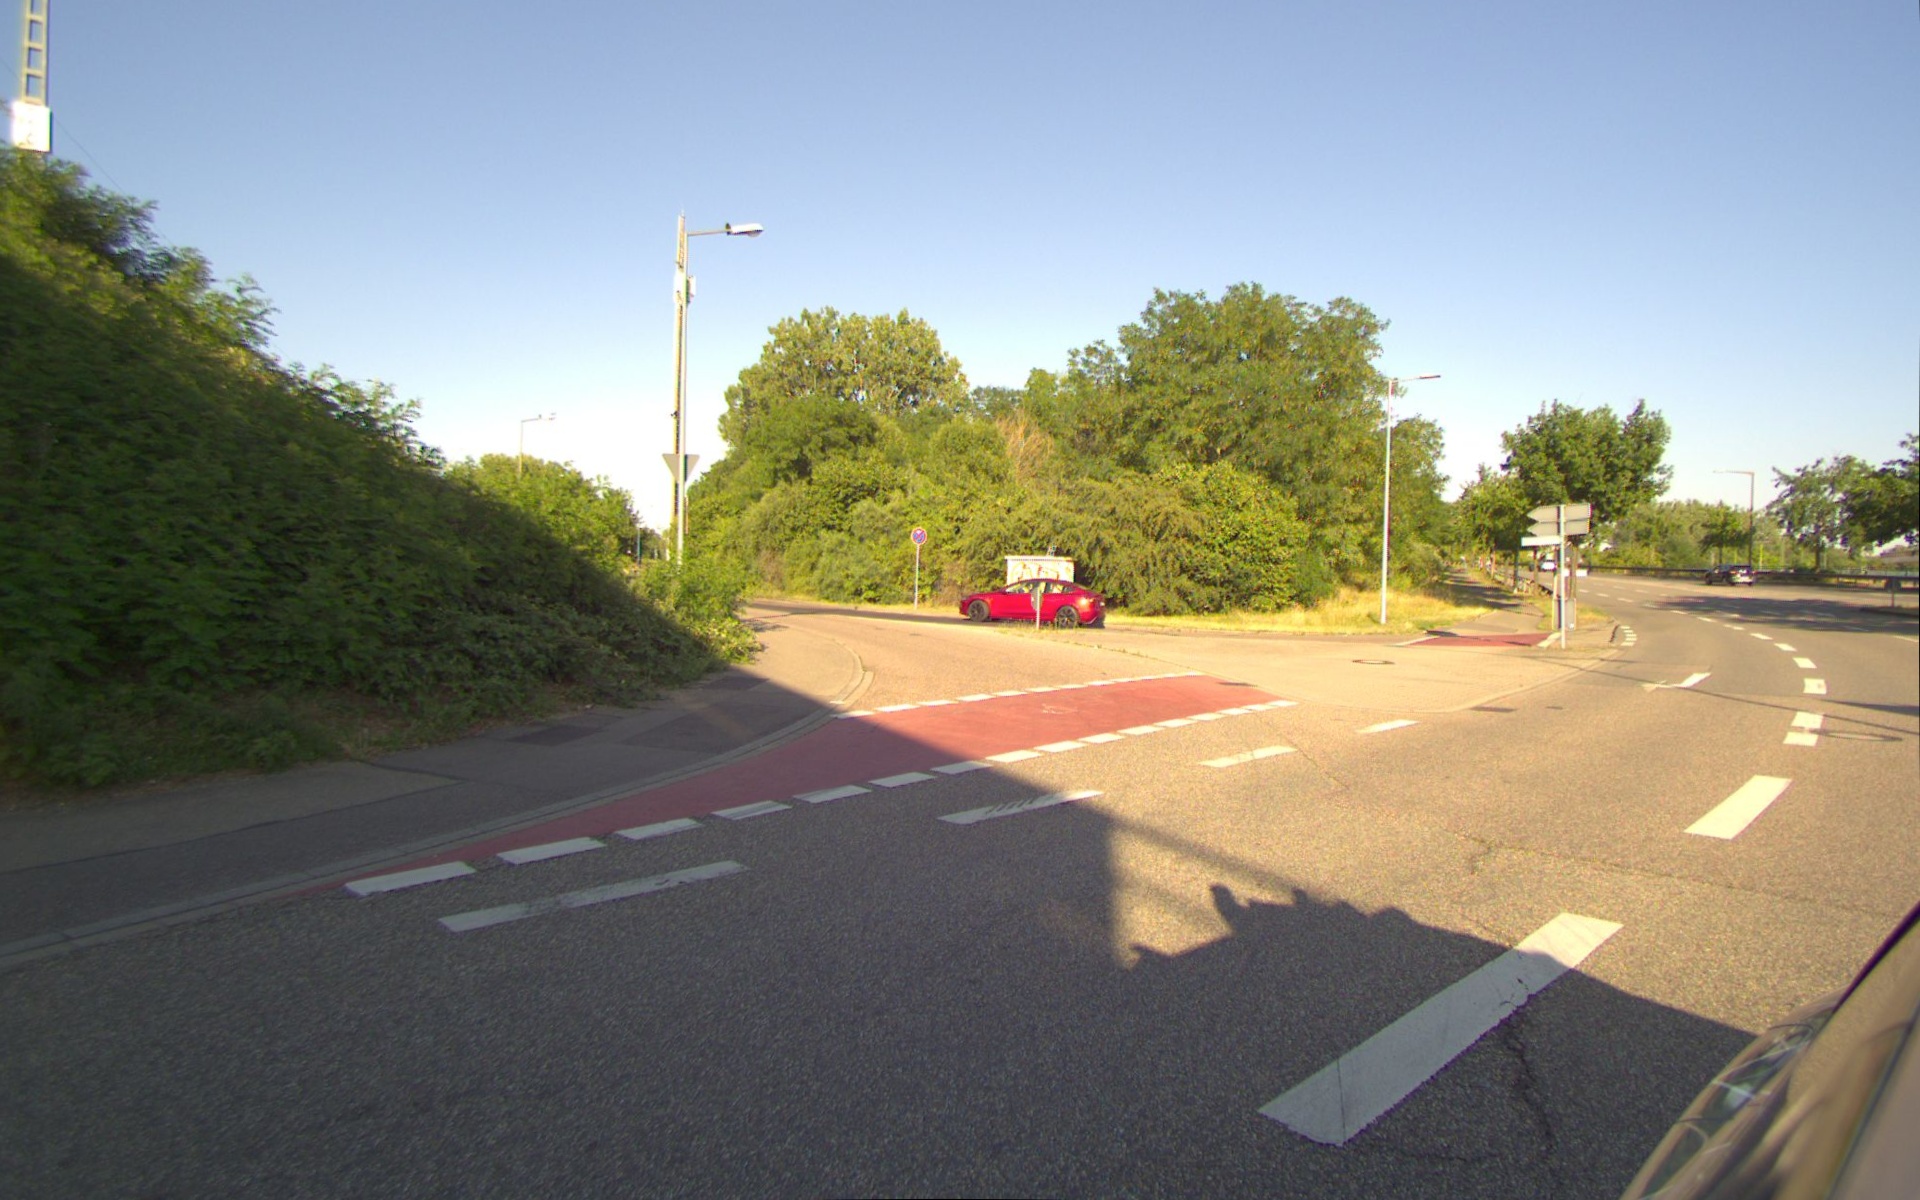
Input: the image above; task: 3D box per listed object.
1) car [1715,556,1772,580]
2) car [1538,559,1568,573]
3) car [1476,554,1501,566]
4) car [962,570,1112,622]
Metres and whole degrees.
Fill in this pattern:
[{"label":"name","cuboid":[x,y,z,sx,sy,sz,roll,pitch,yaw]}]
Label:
[{"label":"car","cuboid":[55.606,-2.309,71.925,1.828,1.623,4.370,1,2,18]},{"label":"car","cuboid":[65.336,-3.759,111.605,1.652,1.480,4.092,0,2,13]},{"label":"car","cuboid":[67.912,-5.090,130.123,1.718,1.481,3.756,-1,1,10]},{"label":"car","cuboid":[2.393,-0.130,31.155,4.303,1.460,1.772,1,-1,19]}]
